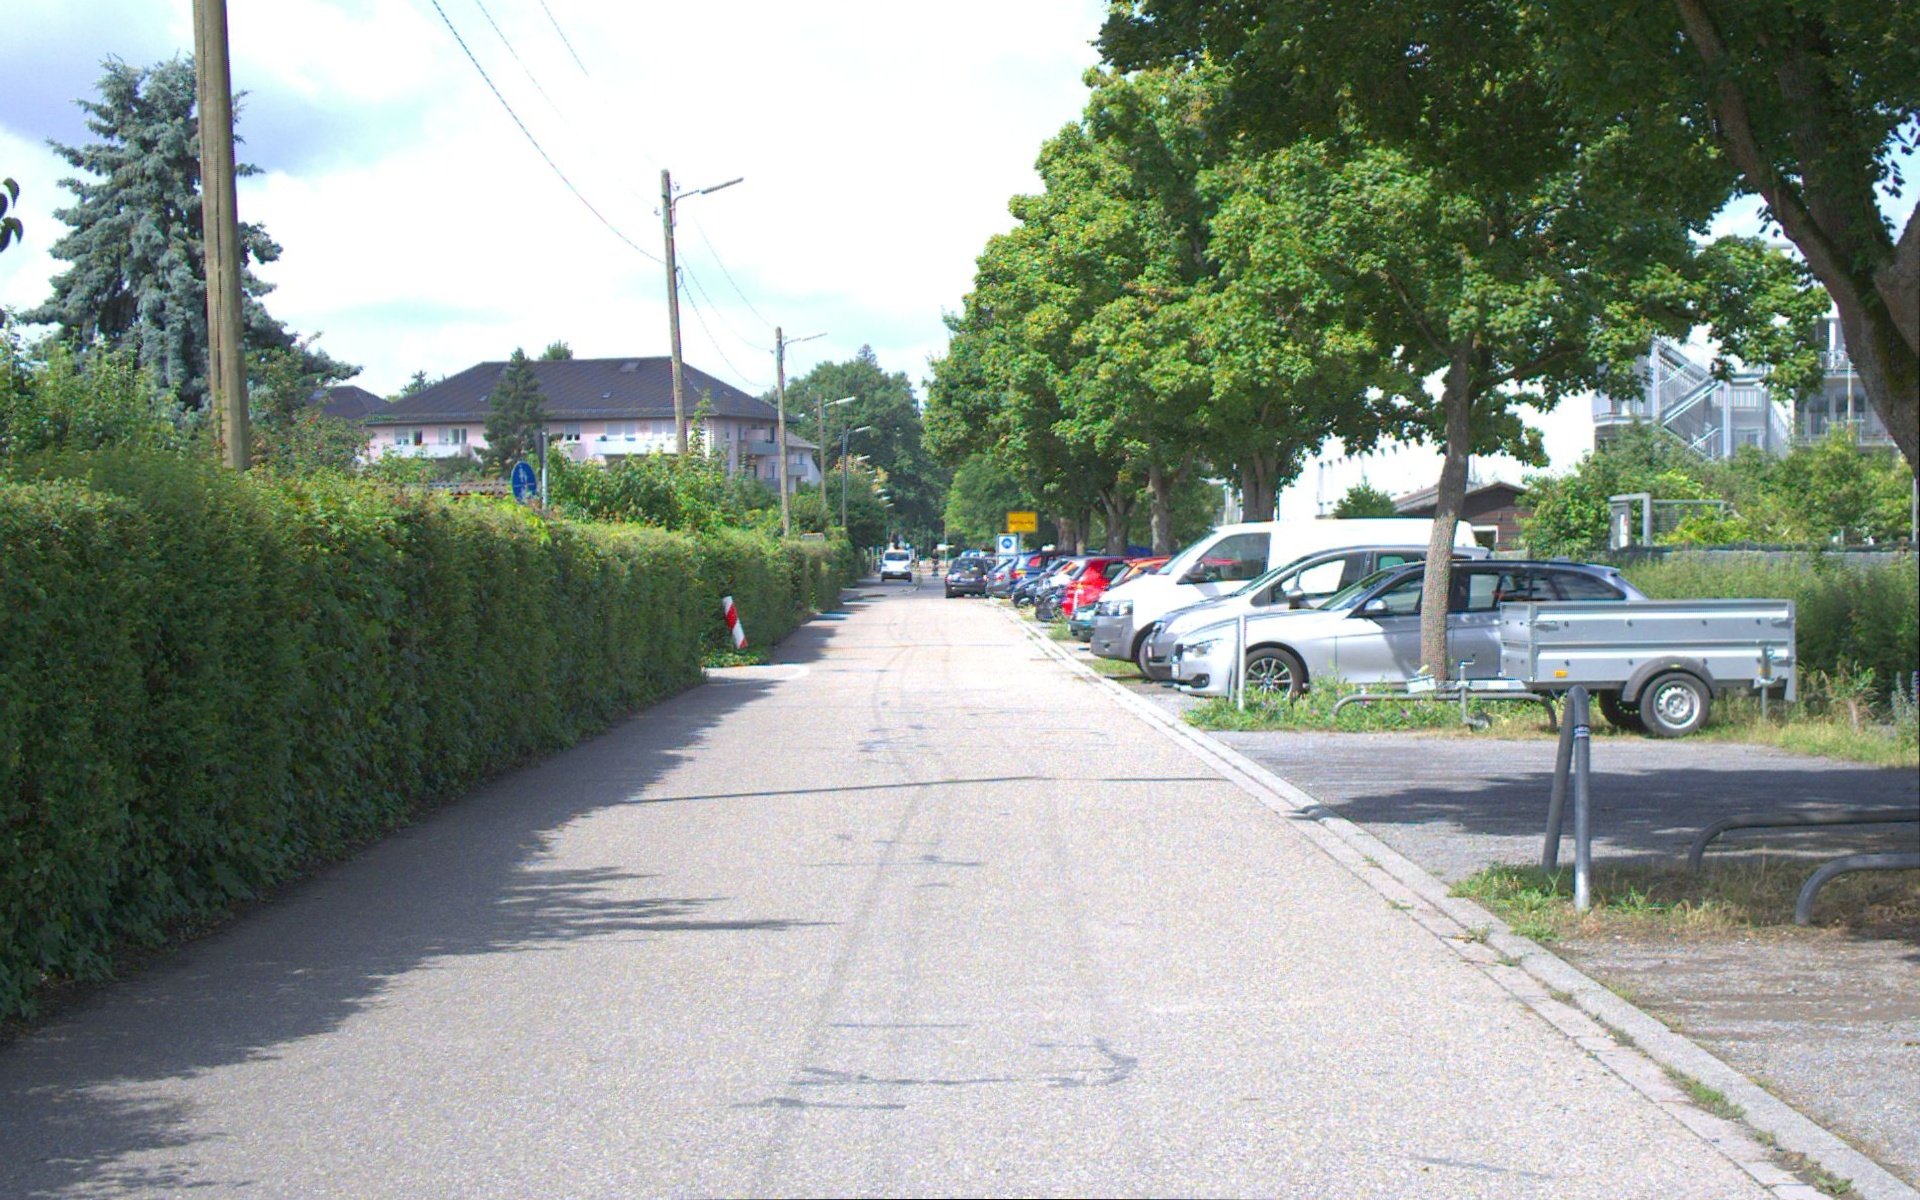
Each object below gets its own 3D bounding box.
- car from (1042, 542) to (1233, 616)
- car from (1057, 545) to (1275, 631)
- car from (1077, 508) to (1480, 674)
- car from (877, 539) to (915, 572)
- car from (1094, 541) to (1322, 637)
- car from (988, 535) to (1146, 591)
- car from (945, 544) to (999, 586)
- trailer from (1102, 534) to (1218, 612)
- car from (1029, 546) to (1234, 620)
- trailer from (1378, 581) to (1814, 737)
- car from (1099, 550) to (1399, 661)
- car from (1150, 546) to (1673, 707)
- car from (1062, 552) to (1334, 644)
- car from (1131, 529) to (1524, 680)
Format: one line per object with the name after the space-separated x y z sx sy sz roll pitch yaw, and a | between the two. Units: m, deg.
3.845 -0.456 74.705 4.065 1.506 1.957 1 0 3 | car
3.845 -0.228 64.418 3.987 1.514 1.854 1 0 3 | car
3.840 -0.128 42.018 4.634 1.880 2.112 -1 1 -2 | car
-3.626 -2.534 194.815 1.903 1.808 4.000 1 0 2 | car
4.267 -0.194 59.617 3.764 1.568 1.870 1 0 -1 | car
3.137 -1.095 101.610 4.548 1.573 1.809 1 0 -1 | car
0.465 -1.271 126.456 1.663 1.501 3.999 1 0 4 | car
4.570 -0.619 78.898 2.449 1.714 1.518 1 1 -4 | trailer
3.520 -0.354 71.099 4.065 1.450 1.870 1 0 -2 | car
5.040 0.452 27.590 3.100 1.138 2.000 1 0 0 | trailer
4.146 0.067 49.816 4.183 1.499 1.878 1 0 1 | car
4.177 0.227 32.320 4.577 1.461 2.000 0 1 -3 | car
3.904 -0.036 56.893 4.238 1.423 1.908 1 0 -4 | car
4.139 0.034 39.275 4.243 1.587 2.000 -1 1 0 | car
